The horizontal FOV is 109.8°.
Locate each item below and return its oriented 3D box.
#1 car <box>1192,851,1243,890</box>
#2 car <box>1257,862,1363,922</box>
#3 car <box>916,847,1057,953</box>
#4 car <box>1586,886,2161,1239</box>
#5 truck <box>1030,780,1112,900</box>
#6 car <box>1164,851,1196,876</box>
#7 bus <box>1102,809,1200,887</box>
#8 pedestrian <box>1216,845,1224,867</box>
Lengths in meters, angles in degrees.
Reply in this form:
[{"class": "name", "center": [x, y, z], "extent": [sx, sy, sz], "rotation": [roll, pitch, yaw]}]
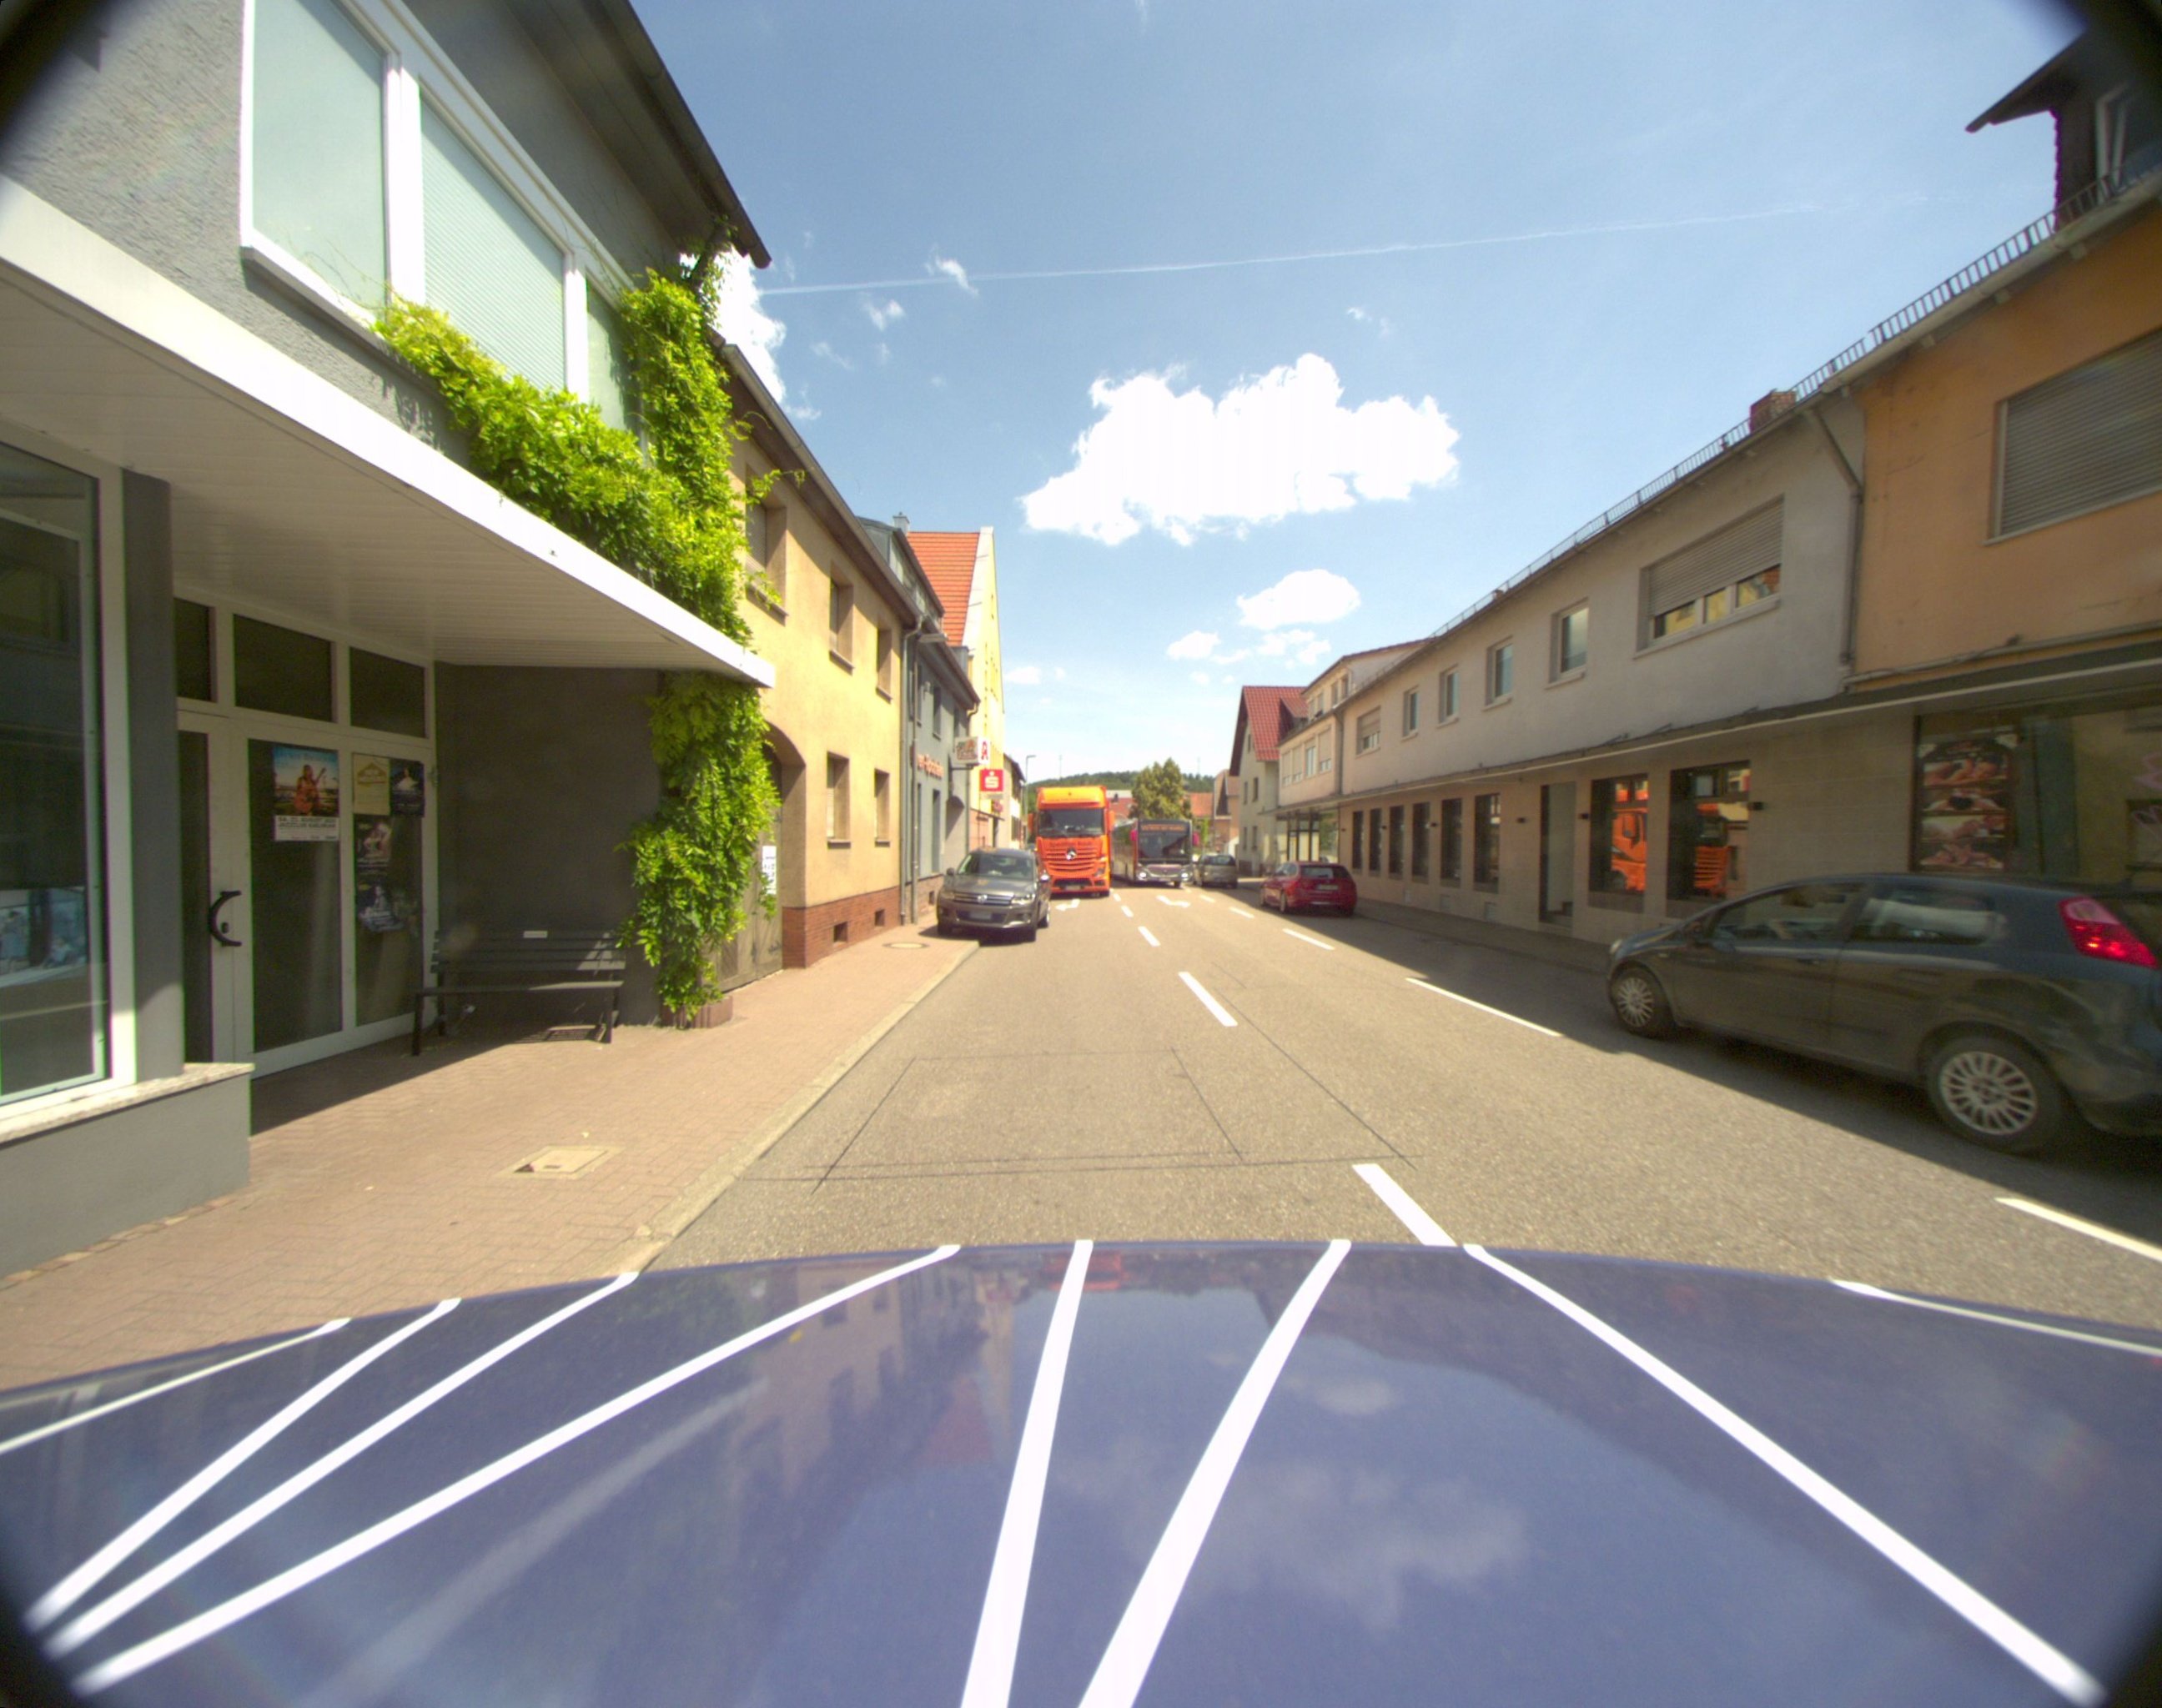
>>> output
[{"class": "car", "center": [6.369, 0.747, 35.823], "extent": [1.683, 1.607, 3.821], "rotation": [4, 0, 1]}, {"class": "car", "center": [6.149, 0.961, 20.887], "extent": [1.721, 1.400, 4.285], "rotation": [3, 0, 3]}, {"class": "car", "center": [-1.666, 0.748, 14.879], "extent": [1.998, 1.699, 4.101], "rotation": [2, 1, 3]}, {"class": "car", "center": [5.593, 1.016, 5.169], "extent": [1.722, 1.414, 3.820], "rotation": [2, 0, 0]}, {"class": "truck", "center": [-0.133, -0.447, 30.398], "extent": [2.614, 3.922, 9.994], "rotation": [-2, 0, 2]}, {"class": "car", "center": [6.231, 0.565, 48.167], "extent": [1.600, 1.447, 3.447], "rotation": [2, 1, 2]}, {"class": "bus", "center": [3.153, -0.264, 40.916], "extent": [2.859, 3.186, 19.027], "rotation": [0, 0, -2]}, {"class": "pedestrian", "center": [11.293, 0.157, 61.659], "extent": [0.472, 1.754, 0.478], "rotation": [0, 2, -21]}]
